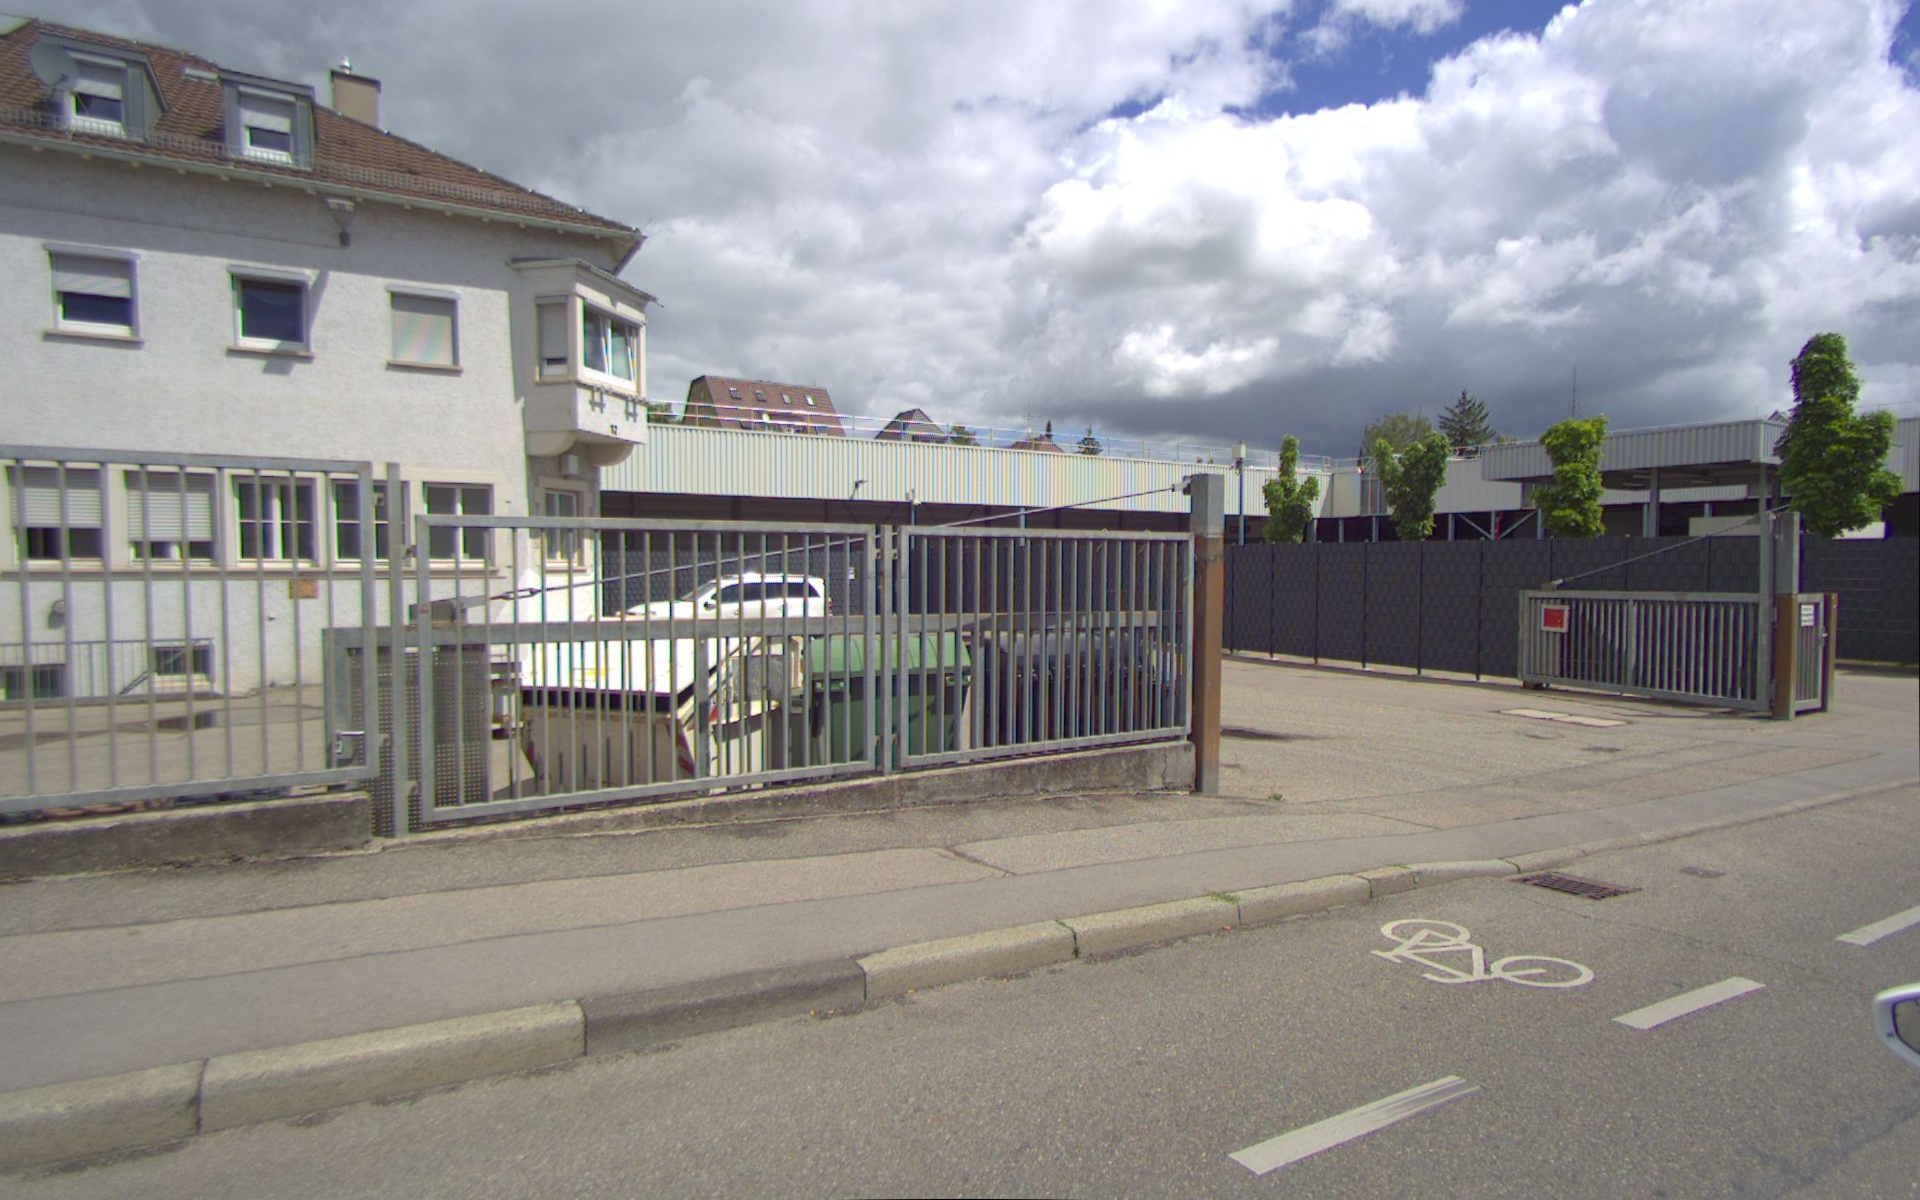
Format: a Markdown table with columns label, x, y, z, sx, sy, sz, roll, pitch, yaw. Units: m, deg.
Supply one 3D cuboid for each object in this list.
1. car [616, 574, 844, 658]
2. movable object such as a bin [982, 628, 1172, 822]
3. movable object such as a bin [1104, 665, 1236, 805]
| label | x | y | z | sx | sy | sz | roll | pitch | yaw |
| --- | --- | --- | --- | --- | --- | --- | --- | --- | --- |
| car | -5.503 | 0.346 | 24.226 | 5.036 | 1.856 | 1.984 | 0 | 2 | -30 |
| movable object such as a bin | 0.945 | 0.952 | 8.222 | 1.200 | 1.411 | 0.987 | 0 | 0 | -29 |
| movable object such as a bin | 1.799 | 1.128 | 8.669 | 0.731 | 1.064 | 0.869 | 0 | 0 | -26 |
